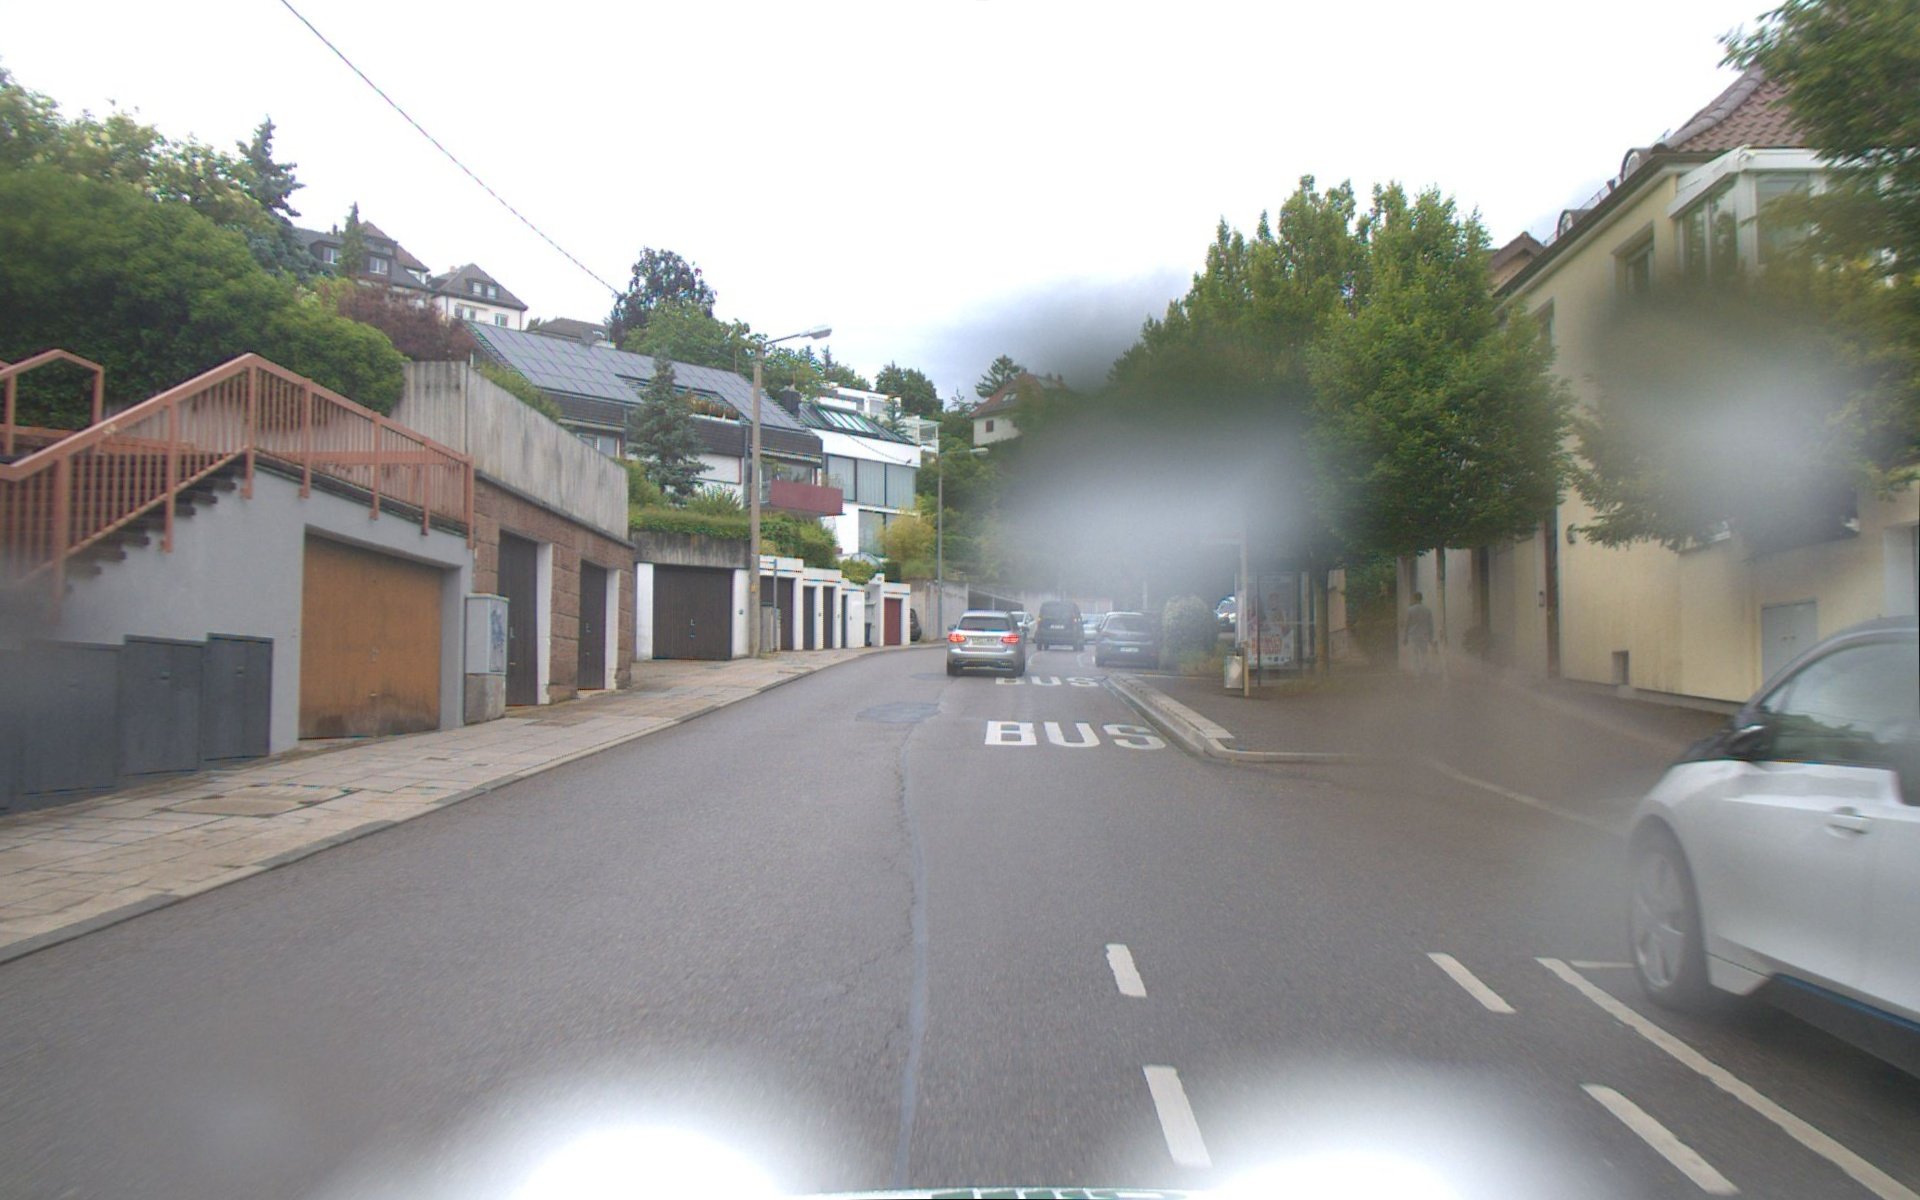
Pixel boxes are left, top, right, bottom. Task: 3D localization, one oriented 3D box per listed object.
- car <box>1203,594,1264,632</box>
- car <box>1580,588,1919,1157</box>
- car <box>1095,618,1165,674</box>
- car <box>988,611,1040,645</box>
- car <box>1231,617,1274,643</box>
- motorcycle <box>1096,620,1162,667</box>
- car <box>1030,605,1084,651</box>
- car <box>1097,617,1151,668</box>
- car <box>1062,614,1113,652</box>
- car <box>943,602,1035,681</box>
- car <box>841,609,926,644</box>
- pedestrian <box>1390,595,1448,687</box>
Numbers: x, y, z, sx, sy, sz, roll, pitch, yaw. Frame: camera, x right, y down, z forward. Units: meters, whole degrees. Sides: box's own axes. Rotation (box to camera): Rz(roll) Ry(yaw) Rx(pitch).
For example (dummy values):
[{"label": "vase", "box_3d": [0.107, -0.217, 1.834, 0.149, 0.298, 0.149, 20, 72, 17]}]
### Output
[{"label": "car", "box_3d": [19.757, 0.926, 119.251, 2.057, 2.594, 6.080, -1, 0, 33]}, {"label": "car", "box_3d": [3.634, 0.814, 5.347, 1.694, 1.636, 4.119, 2, 0, 0]}, {"label": "car", "box_3d": [4.744, 1.267, 46.607, 1.839, 1.441, 4.470, 1, 0, 4]}, {"label": "car", "box_3d": [2.598, 1.303, 78.565, 1.592, 1.542, 3.835, -1, 0, 16]}, {"label": "car", "box_3d": [17.720, 1.783, 100.042, 1.635, 1.496, 3.707, 2, 0, 25]}, {"label": "motorcycle", "box_3d": [5.085, 1.305, 49.854, 1.874, 1.353, 0.787, 2, 0, 0]}, {"label": "car", "box_3d": [3.722, 1.070, 64.009, 1.952, 1.738, 4.001, 1, -1, 2]}, {"label": "car", "box_3d": [5.228, 1.323, 52.686, 1.622, 1.515, 4.003, 2, 0, 6]}, {"label": "car", "box_3d": [6.079, 1.544, 78.482, 1.951, 1.738, 4.003, 0, -1, 12]}, {"label": "car", "box_3d": [0.628, 0.947, 38.992, 1.984, 1.738, 4.214, 1, -1, -1]}, {"label": "car", "box_3d": [-3.582, 1.229, 77.150, 3.865, 1.504, 1.756, 2, 0, 44]}, {"label": "pedestrian", "box_3d": [8.921, 0.788, 32.162, 0.815, 1.715, 1.045, -3, 0, 3]}]
